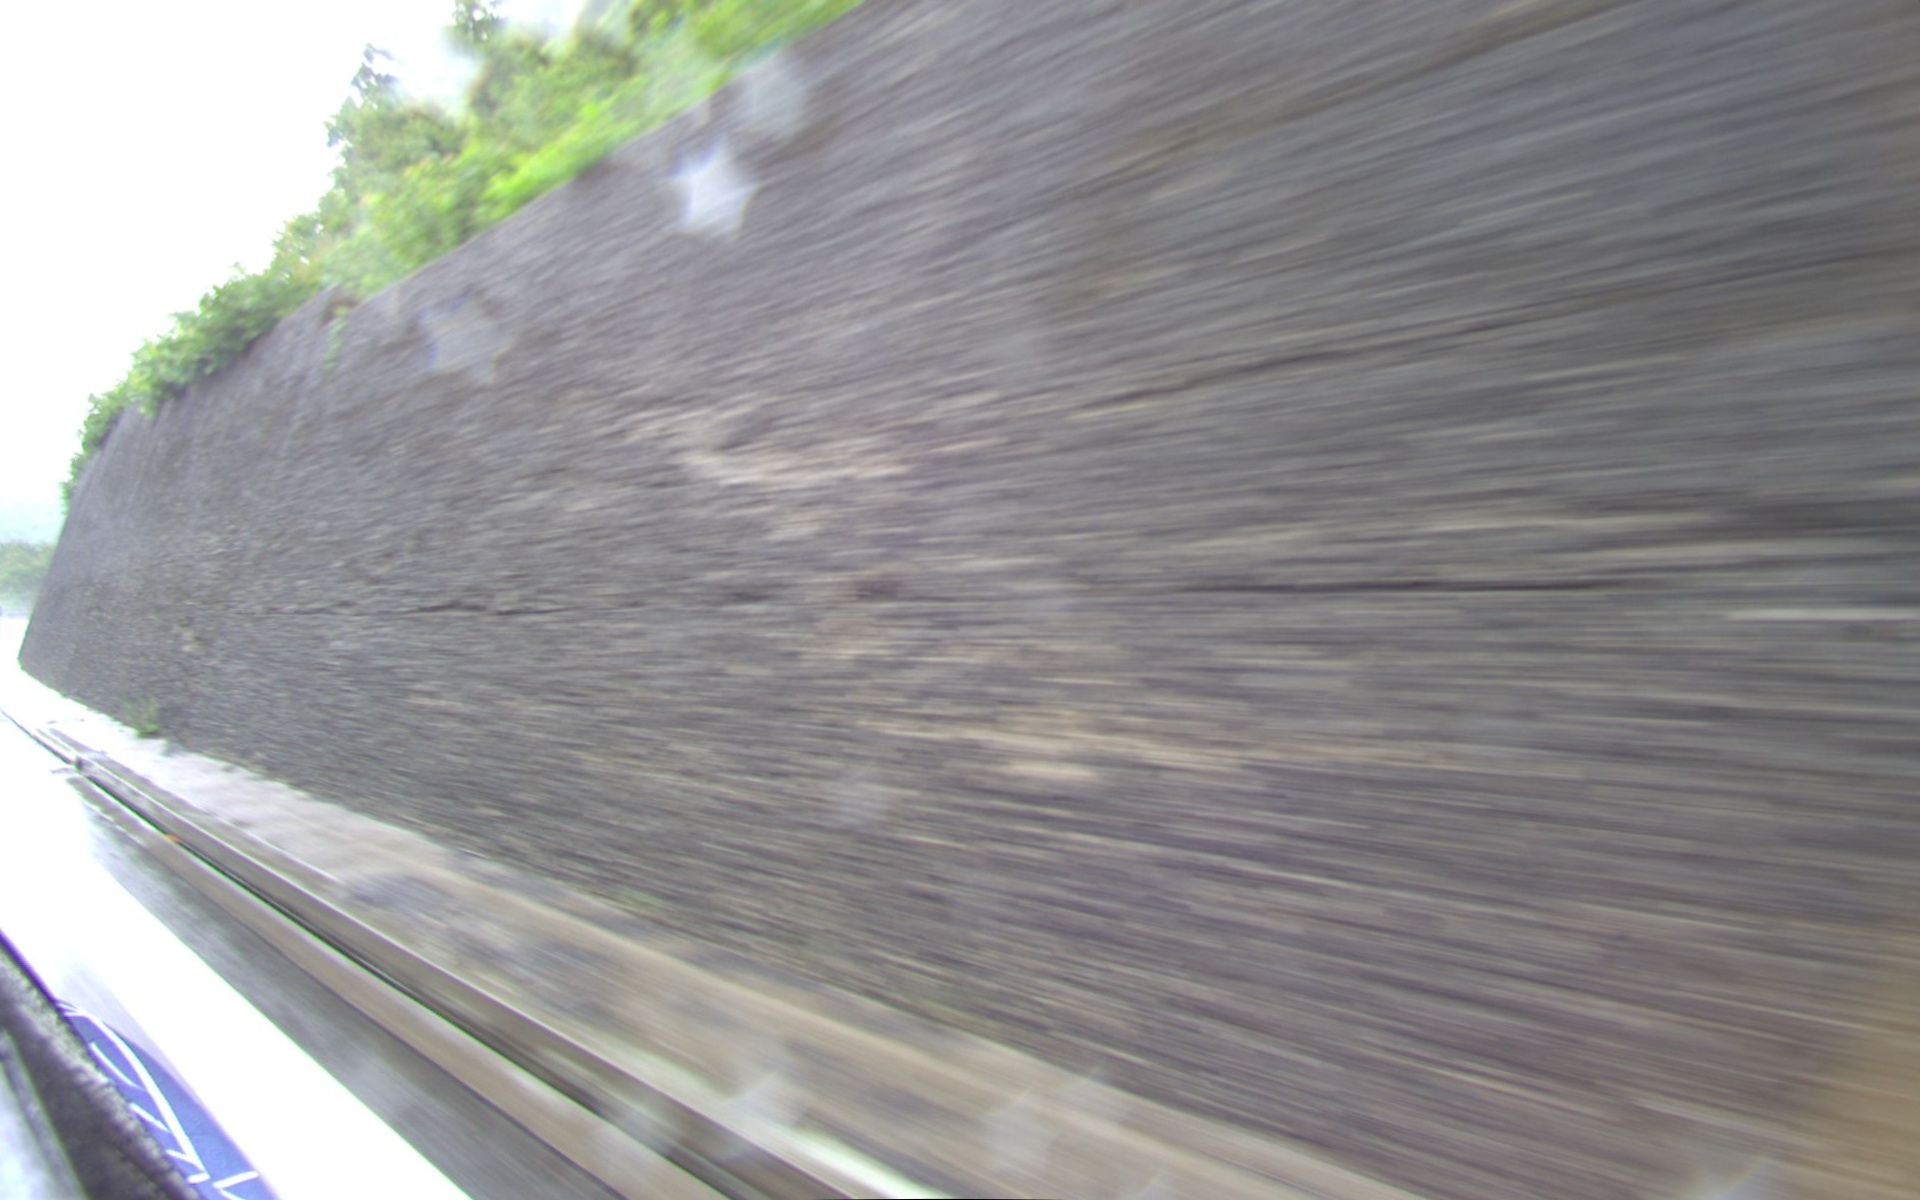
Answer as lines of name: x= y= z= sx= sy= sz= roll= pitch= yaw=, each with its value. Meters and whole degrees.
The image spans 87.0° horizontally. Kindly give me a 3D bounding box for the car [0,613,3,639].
car: x=-51.407 y=1.431 z=52.525 sx=1.798 sy=1.393 sz=4.011 roll=-3 pitch=1 yaw=-33
